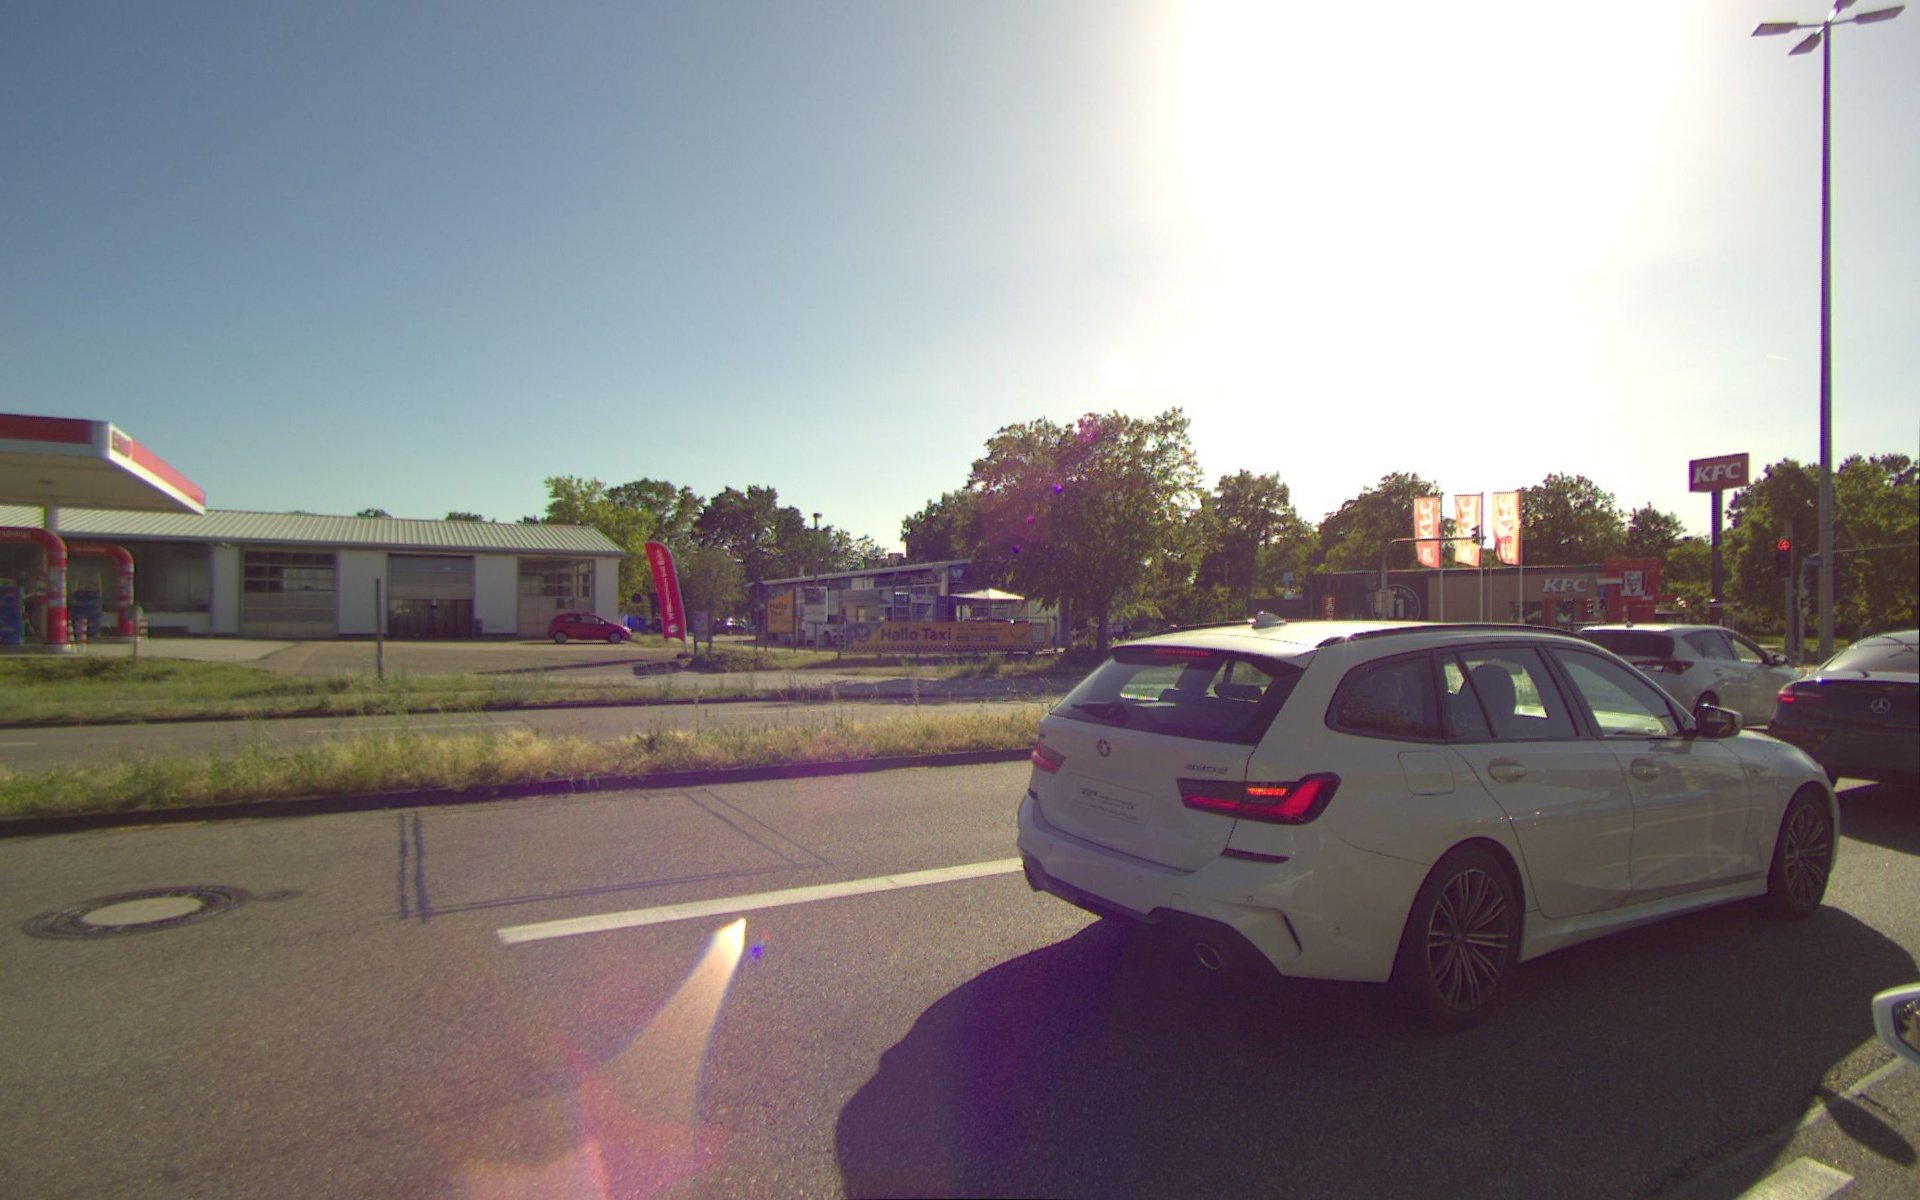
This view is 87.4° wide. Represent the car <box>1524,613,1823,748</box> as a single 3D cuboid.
[{"bbox_3d":[9.569,0.997,13.396,4.150,1.510,1.750,2,0,-31],"label":"car"}]

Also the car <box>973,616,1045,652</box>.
[{"bbox_3d":[2.379,1.661,49.548,1.839,1.613,3.974,2,0,-26],"label":"car"}]

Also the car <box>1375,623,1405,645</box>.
[{"bbox_3d":[31.283,2.439,73.213,1.629,1.491,3.919,2,0,18],"label":"car"}]

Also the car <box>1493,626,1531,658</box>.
[{"bbox_3d":[33.072,2.468,60.195,1.880,1.776,4.349,2,0,29],"label":"car"}]

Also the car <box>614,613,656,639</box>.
[{"bbox_3d":[-19.367,1.538,59.756,1.634,1.383,3.744,2,0,-29],"label":"car"}]

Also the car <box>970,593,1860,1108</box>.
[{"bbox_3d":[2.369,0.794,4.865,4.353,1.510,1.776,2,0,-31],"label":"car"}]

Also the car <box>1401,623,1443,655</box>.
[{"bbox_3d":[28.326,2.337,61.512,1.964,1.788,4.349,2,0,29],"label":"car"}]

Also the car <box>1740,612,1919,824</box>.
[{"bbox_3d":[8.760,0.927,8.629,4.425,1.510,1.787,2,0,-31],"label":"car"}]

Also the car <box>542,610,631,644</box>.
[{"bbox_3d":[-18.365,1.329,49.395,3.946,1.537,1.772,2,0,-25],"label":"car"}]

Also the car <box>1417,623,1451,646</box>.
[{"bbox_3d":[33.916,2.448,71.940,1.629,1.491,3.919,2,0,18],"label":"car"}]

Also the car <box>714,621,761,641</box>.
[{"bbox_3d":[-19.406,2.713,87.637,3.929,1.634,1.996,2,0,-11],"label":"car"}]

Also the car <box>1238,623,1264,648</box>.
[{"bbox_3d":[21.792,2.615,75.145,1.629,1.695,3.945,2,0,18],"label":"car"}]

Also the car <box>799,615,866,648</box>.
[{"bbox_3d":[-6.759,1.641,53.064,1.978,1.584,3.964,2,0,-32],"label":"car"}]

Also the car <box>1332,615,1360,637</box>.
[{"bbox_3d":[28.272,1.887,73.648,1.629,1.491,3.919,2,0,18],"label":"car"}]
